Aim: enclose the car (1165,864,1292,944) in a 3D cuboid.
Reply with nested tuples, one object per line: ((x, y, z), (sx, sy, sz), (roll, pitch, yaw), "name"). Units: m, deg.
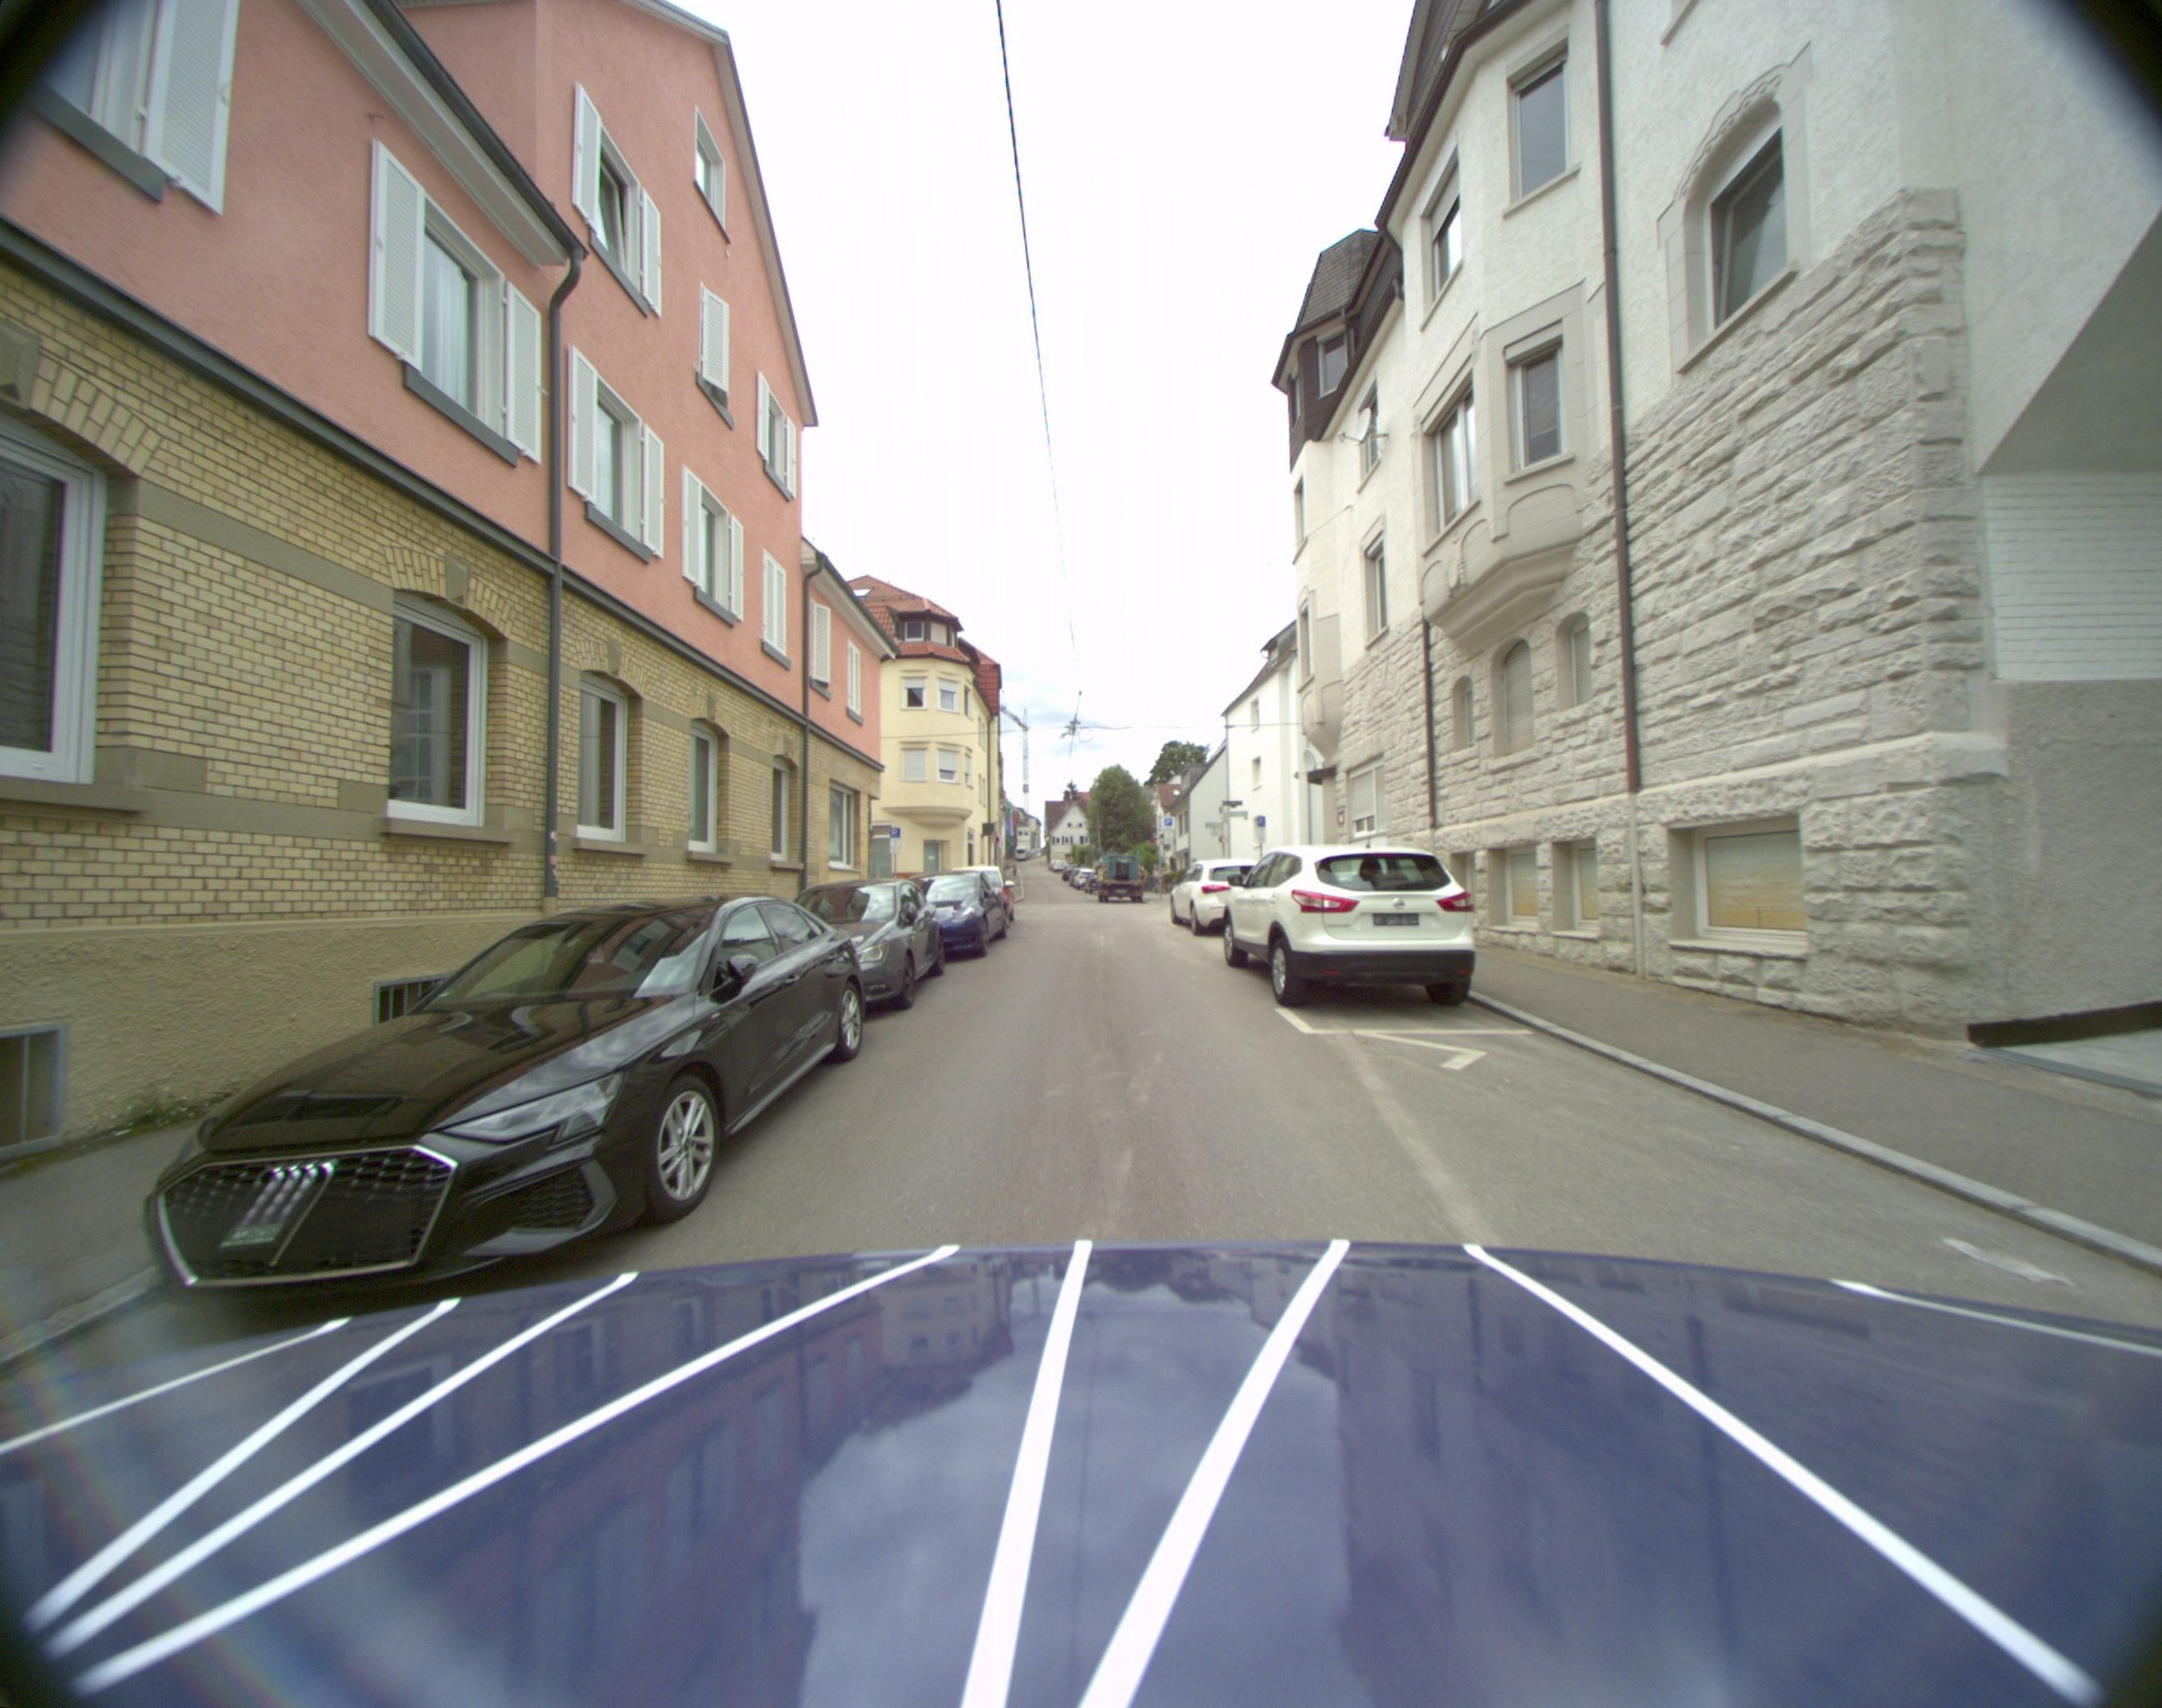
((2.864, 0.914, 15.658), (1.703, 1.405, 4.240), (-1, -1, -1), "car")

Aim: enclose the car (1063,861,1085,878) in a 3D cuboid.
((-0.736, 1.605, 78.418), (1.856, 1.640, 3.944), (1, 0, -6), "car")

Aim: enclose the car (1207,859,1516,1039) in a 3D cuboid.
((2.744, 0.833, 8.589), (1.850, 1.506, 4.240), (-1, -1, -1), "car")

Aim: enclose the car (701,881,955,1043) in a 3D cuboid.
((-2.752, 1.098, 9.264), (1.857, 1.395, 3.966), (-2, -1, -2), "car")

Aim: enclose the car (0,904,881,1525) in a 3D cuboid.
((-2.711, 1.164, 4.392), (1.857, 1.395, 4.575), (-4, -1, -1), "car")

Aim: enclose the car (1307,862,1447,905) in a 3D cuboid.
((10.512, 1.093, 27.265), (4.293, 1.382, 1.828), (-2, -3, 5), "car")

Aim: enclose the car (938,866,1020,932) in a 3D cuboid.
((-2.462, 1.048, 19.070), (1.672, 1.470, 3.625), (-1, -1, -2), "car")

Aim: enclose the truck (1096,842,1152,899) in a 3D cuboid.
((1.980, 0.872, 36.984), (2.316, 2.535, 6.290), (1, -3, 0), "truck")

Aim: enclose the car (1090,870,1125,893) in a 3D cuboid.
((1.716, 1.789, 49.985), (1.855, 1.454, 3.946), (1, -2, -4), "car")

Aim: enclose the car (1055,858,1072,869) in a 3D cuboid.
((-2.298, 1.211, 96.971), (1.856, 1.441, 3.944), (1, -1, -6), "car")

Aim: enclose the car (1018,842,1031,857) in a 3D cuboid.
((-10.492, -0.842, 141.196), (2.194, 2.630, 5.823), (1, 0, -6), "car")

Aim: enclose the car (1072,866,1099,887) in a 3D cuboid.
((0.381, 1.921, 65.232), (1.856, 1.640, 3.944), (1, 0, -6), "car")

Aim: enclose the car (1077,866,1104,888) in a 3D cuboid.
((0.710, 1.796, 59.983), (1.855, 1.640, 3.946), (1, -2, -4), "car")

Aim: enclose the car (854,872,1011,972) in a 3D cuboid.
((-2.443, 1.077, 13.606), (1.857, 1.395, 4.293), (-2, -1, 1), "car")

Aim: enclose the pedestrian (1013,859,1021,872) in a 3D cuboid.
((-7.383, 1.379, 87.355), (0.757, 1.479, 0.566), (0, -1, -18), "pedestrian")

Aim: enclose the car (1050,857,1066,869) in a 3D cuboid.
((-3.121, 1.193, 102.818), (1.856, 1.441, 3.943), (1, 1, -6), "car")
